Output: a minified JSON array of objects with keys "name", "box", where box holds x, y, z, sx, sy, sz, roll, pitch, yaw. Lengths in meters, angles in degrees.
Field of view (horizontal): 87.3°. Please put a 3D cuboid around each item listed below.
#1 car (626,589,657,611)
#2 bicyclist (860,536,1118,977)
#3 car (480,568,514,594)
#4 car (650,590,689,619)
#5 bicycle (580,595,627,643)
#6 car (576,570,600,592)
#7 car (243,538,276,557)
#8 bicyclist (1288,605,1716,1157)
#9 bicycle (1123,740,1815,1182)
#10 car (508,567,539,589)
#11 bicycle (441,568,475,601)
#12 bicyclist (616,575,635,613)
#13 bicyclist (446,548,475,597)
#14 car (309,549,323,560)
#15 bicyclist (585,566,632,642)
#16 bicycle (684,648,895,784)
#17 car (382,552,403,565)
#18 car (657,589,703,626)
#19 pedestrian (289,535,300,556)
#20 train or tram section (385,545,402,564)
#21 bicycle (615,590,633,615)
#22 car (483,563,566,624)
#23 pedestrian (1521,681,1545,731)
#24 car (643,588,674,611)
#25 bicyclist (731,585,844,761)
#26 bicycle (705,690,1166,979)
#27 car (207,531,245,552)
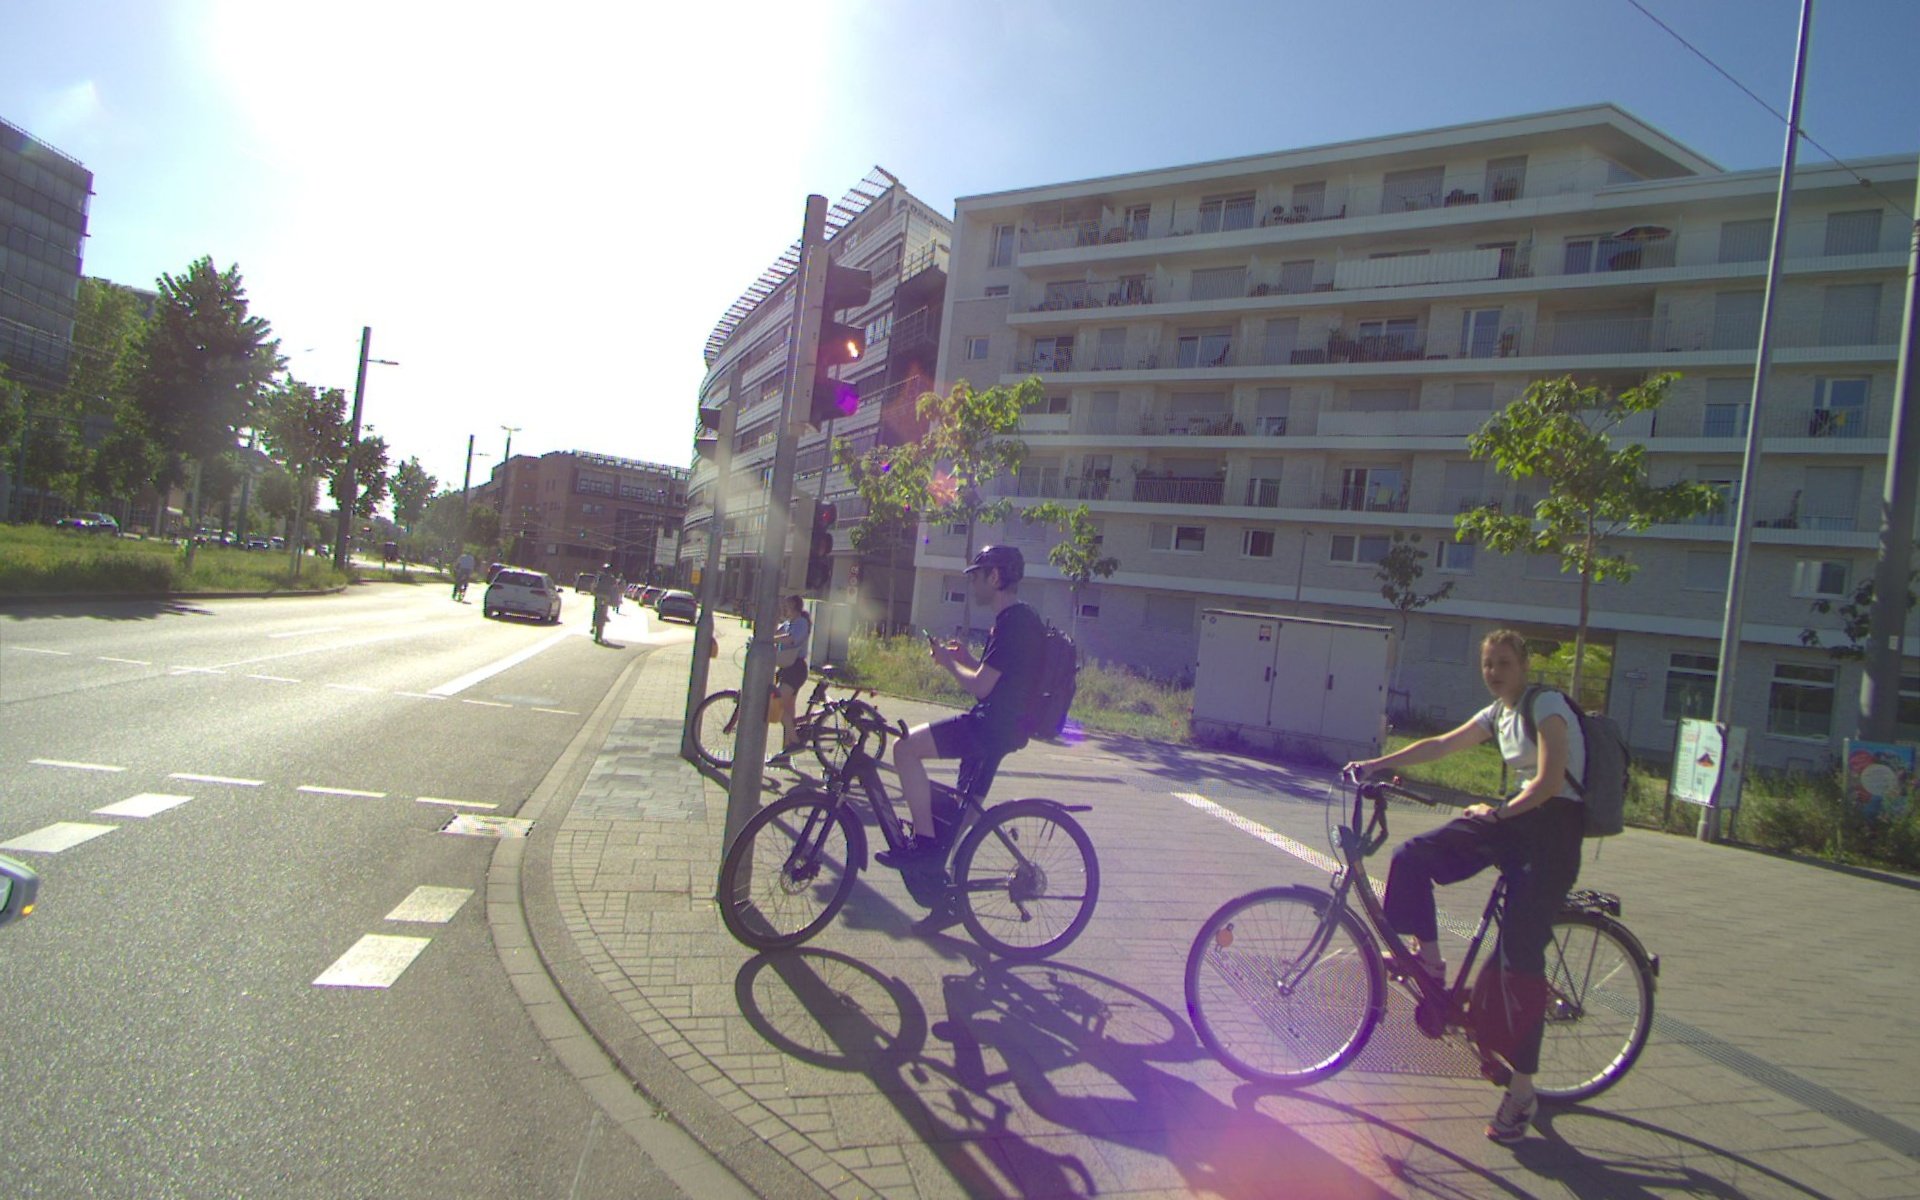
[{"name":"car","box":[-29.605,0.018,93.337,1.892,1.601,4.109,9,-2,-28]},{"name":"bicyclist","box":[0.106,0.682,4.536,0.891,1.821,0.548,6,1,-12]},{"name":"car","box":[-33.272,-1.341,72.352,1.708,1.582,3.662,7,-1,-20]},{"name":"car","box":[-17.996,0.258,62.283,1.705,1.438,4.615,9,-2,-22]},{"name":"bicycle","box":[-8.799,0.456,24.911,0.816,1.048,1.886,9,-2,-15]},{"name":"car","box":[-33.923,-1.758,91.868,1.763,1.722,4.121,9,-2,-19]},{"name":"car","box":[-63.877,-4.768,91.790,1.412,1.375,3.283,7,-1,-18]},{"name":"bicyclist","box":[1.838,0.912,3.530,0.985,1.675,0.595,7,1,-1]},{"name":"bicycle","box":[1.670,1.197,3.525,1.974,1.119,0.696,6,0,-2]},{"name":"car","box":[-35.202,-1.760,81.229,1.707,1.466,4.505,7,-1,-18]},{"name":"bicycle","box":[-18.216,-0.559,36.526,0.679,1.082,2.685,9,-2,-20]},{"name":"bicyclist","box":[-16.392,-0.285,49.330,0.641,1.774,1.042,7,0,-15]},{"name":"bicyclist","box":[-18.187,-0.991,36.649,0.611,1.689,1.015,8,-1,-20]},{"name":"car","box":[-93.428,-6.550,145.988,1.597,1.416,3.885,3,1,-33]},{"name":"bicyclist","box":[-8.624,0.096,24.715,0.797,1.712,1.048,8,-1,-15]},{"name":"bicycle","box":[-1.467,1.002,8.837,1.677,0.966,0.696,6,0,-7]},{"name":"car","box":[-89.204,-6.548,158.125,2.250,1.748,3.906,8,-2,-36]},{"name":"car","box":[-13.935,0.334,49.891,1.703,1.542,4.380,8,-2,-20]},{"name":"pedestrian","box":[-60.406,-4.941,91.314,0.451,1.853,0.461,7,0,31]},{"name":"train or tram section","box":[-106.568,-8.537,189.209,2.309,3.039,13.060,7,-1,-30]},{"name":"bicycle","box":[-16.364,0.103,49.056,0.641,1.123,1.753,7,-1,-15]},{"name":"car","box":[-12.827,-0.203,29.839,1.754,1.419,4.277,10,-2,-19]},{"name":"pedestrian","box":[20.135,3.730,35.362,0.515,1.667,0.469,6,0,36]},{"name":"car","box":[-21.789,-0.067,72.605,1.703,1.412,4.768,8,-2,-20]},{"name":"bicyclist","box":[-1.494,0.623,8.829,0.813,1.421,0.589,6,1,-7]},{"name":"bicycle","box":[-0.120,1.035,4.503,1.864,1.051,0.605,6,1,-12]},{"name":"car","box":[-57.303,-4.545,78.592,1.981,1.350,4.748,8,-2,-33]}]
